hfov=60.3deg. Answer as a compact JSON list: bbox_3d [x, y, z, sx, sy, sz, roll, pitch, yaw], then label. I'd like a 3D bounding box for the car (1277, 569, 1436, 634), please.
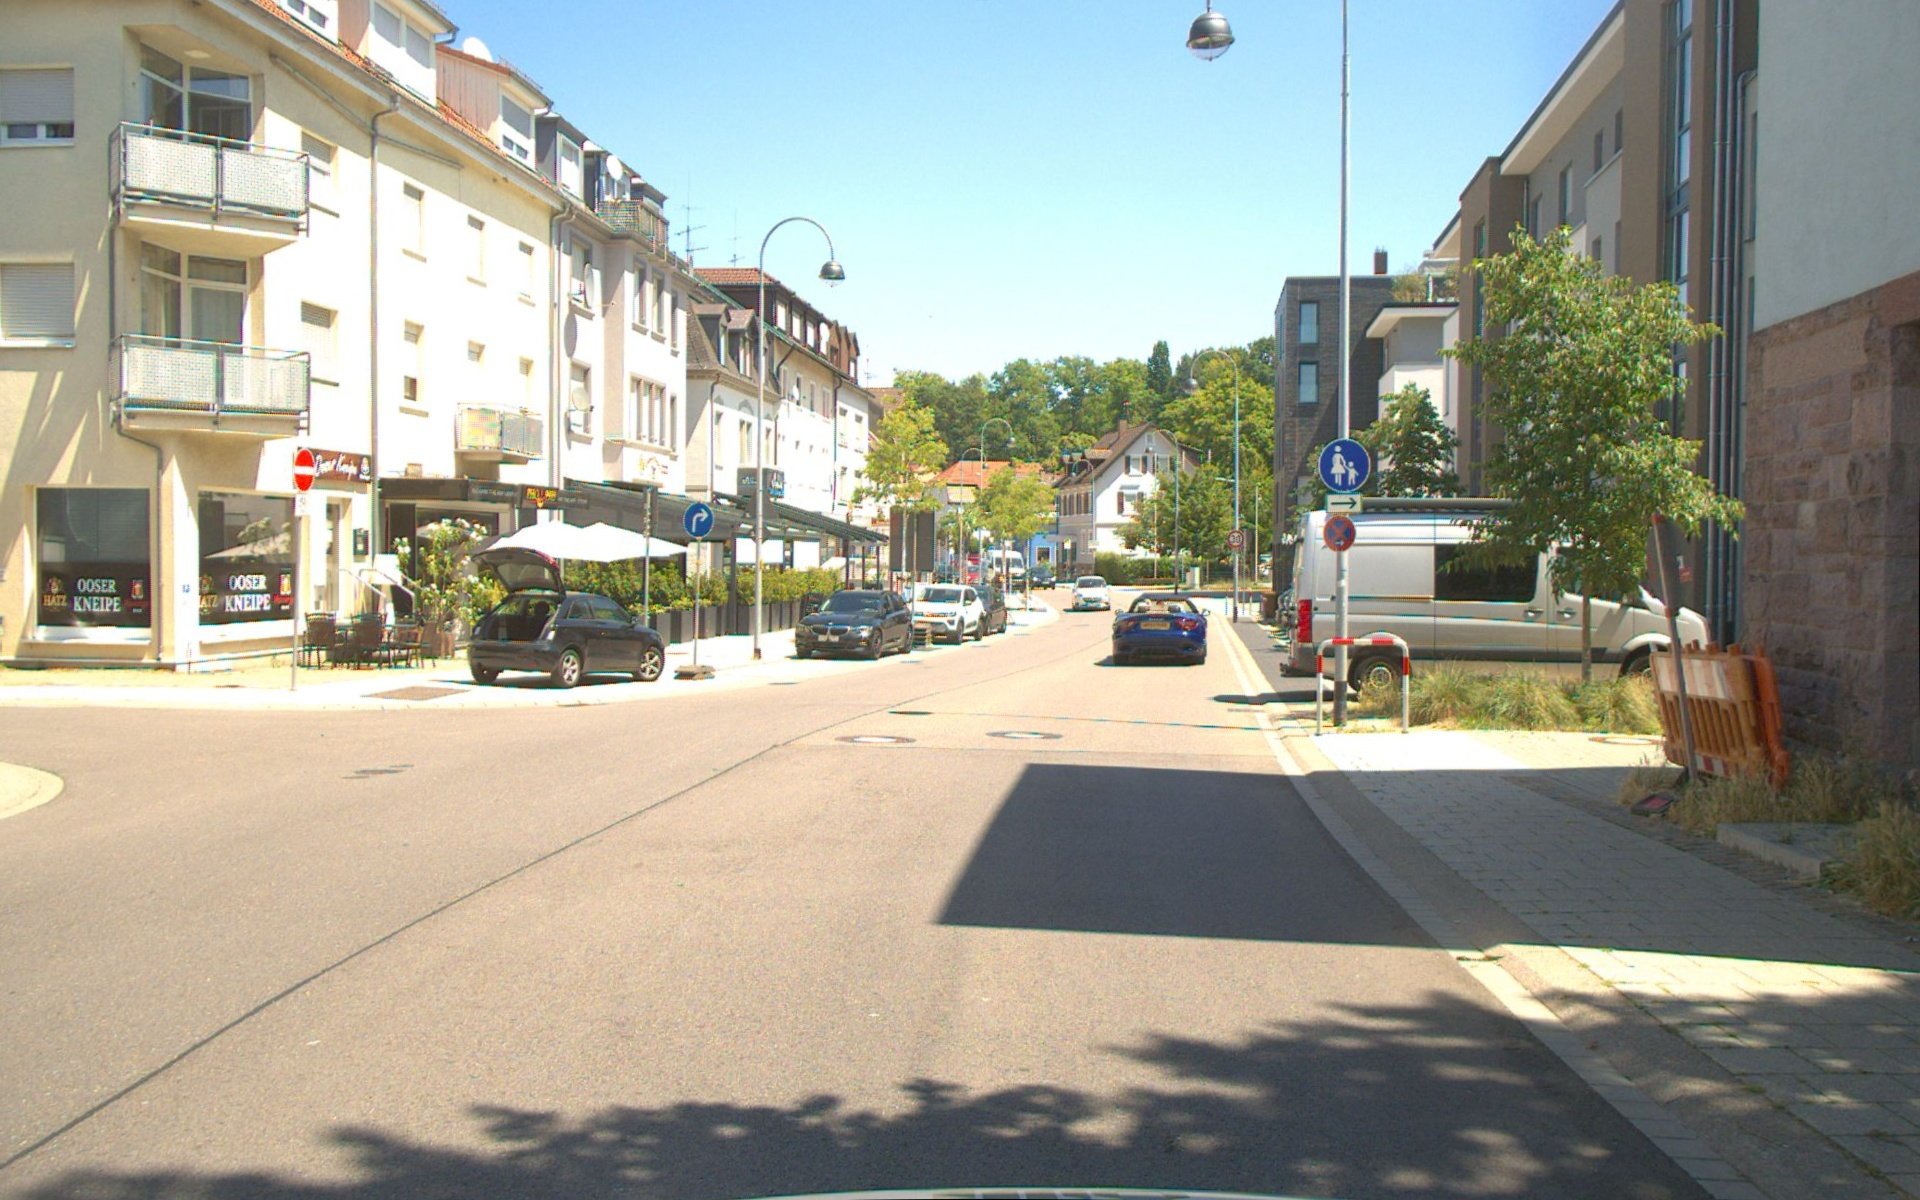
[{"bbox_3d":[10.371,0.017,43.516,3.895,1.633,1.944,0,1,8],"label":"car"}]

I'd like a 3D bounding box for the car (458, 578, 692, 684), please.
[{"bbox_3d":[-6.063,0.456,26.558,1.677,1.486,4.131,3,1,19],"label":"car"}]

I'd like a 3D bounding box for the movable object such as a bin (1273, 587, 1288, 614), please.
[{"bbox_3d":[11.781,0.012,60.830,0.484,0.945,0.623,-1,0,10],"label":"movable object such as a bin"}]

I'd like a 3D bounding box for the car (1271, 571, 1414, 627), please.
[{"bbox_3d":[11.044,-0.050,47.956,3.895,1.555,1.742,0,1,8],"label":"car"}]

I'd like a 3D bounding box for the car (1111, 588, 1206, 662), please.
[{"bbox_3d":[4.093,0.474,34.648,1.831,1.365,4.599,0,1,5],"label":"car"}]

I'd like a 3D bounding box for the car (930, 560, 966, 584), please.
[{"bbox_3d":[-0.909,-2.083,121.940,1.958,1.721,3.990,1,1,-11],"label":"car"}]

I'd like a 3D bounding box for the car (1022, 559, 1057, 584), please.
[{"bbox_3d":[5.192,-1.866,108.761,1.629,1.634,3.994,-2,1,-7],"label":"car"}]

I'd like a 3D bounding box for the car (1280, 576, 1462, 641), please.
[{"bbox_3d":[9.419,0.179,38.198,3.886,1.433,1.858,-1,1,7],"label":"car"}]

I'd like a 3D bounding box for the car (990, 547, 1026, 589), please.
[{"bbox_3d":[2.885,-1.948,100.637,1.829,2.442,4.816,0,1,-2],"label":"car"}]

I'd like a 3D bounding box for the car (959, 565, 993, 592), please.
[{"bbox_3d":[1.045,-1.453,109.724,1.954,1.769,3.997,0,1,-4],"label":"car"}]

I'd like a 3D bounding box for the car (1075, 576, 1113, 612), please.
[{"bbox_3d":[6.013,-0.240,74.127,1.651,1.484,4.060,0,-1,5],"label":"car"}]

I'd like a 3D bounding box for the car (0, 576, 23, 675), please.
[{"bbox_3d":[-16.135,0.393,24.810,3.194,1.483,1.693,0,1,4],"label":"car"}]

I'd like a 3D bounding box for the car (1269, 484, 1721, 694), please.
[{"bbox_3d":[7.384,-0.182,23.481,5.813,2.780,2.198,0,1,9],"label":"car"}]

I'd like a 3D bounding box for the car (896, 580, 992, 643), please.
[{"bbox_3d":[-0.368,0.261,44.365,1.610,1.505,3.944,2,2,14],"label":"car"}]

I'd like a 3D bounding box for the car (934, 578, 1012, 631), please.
[{"bbox_3d":[0.438,0.110,49.760,1.634,1.468,4.014,0,1,11],"label":"car"}]

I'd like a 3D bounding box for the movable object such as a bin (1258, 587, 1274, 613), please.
[{"bbox_3d":[11.270,-0.015,60.919,0.525,0.945,0.623,-1,0,10],"label":"movable object such as a bin"}]

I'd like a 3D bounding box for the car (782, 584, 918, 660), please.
[{"bbox_3d":[-2.360,0.423,36.706,1.795,1.454,4.787,2,2,11],"label":"car"}]
